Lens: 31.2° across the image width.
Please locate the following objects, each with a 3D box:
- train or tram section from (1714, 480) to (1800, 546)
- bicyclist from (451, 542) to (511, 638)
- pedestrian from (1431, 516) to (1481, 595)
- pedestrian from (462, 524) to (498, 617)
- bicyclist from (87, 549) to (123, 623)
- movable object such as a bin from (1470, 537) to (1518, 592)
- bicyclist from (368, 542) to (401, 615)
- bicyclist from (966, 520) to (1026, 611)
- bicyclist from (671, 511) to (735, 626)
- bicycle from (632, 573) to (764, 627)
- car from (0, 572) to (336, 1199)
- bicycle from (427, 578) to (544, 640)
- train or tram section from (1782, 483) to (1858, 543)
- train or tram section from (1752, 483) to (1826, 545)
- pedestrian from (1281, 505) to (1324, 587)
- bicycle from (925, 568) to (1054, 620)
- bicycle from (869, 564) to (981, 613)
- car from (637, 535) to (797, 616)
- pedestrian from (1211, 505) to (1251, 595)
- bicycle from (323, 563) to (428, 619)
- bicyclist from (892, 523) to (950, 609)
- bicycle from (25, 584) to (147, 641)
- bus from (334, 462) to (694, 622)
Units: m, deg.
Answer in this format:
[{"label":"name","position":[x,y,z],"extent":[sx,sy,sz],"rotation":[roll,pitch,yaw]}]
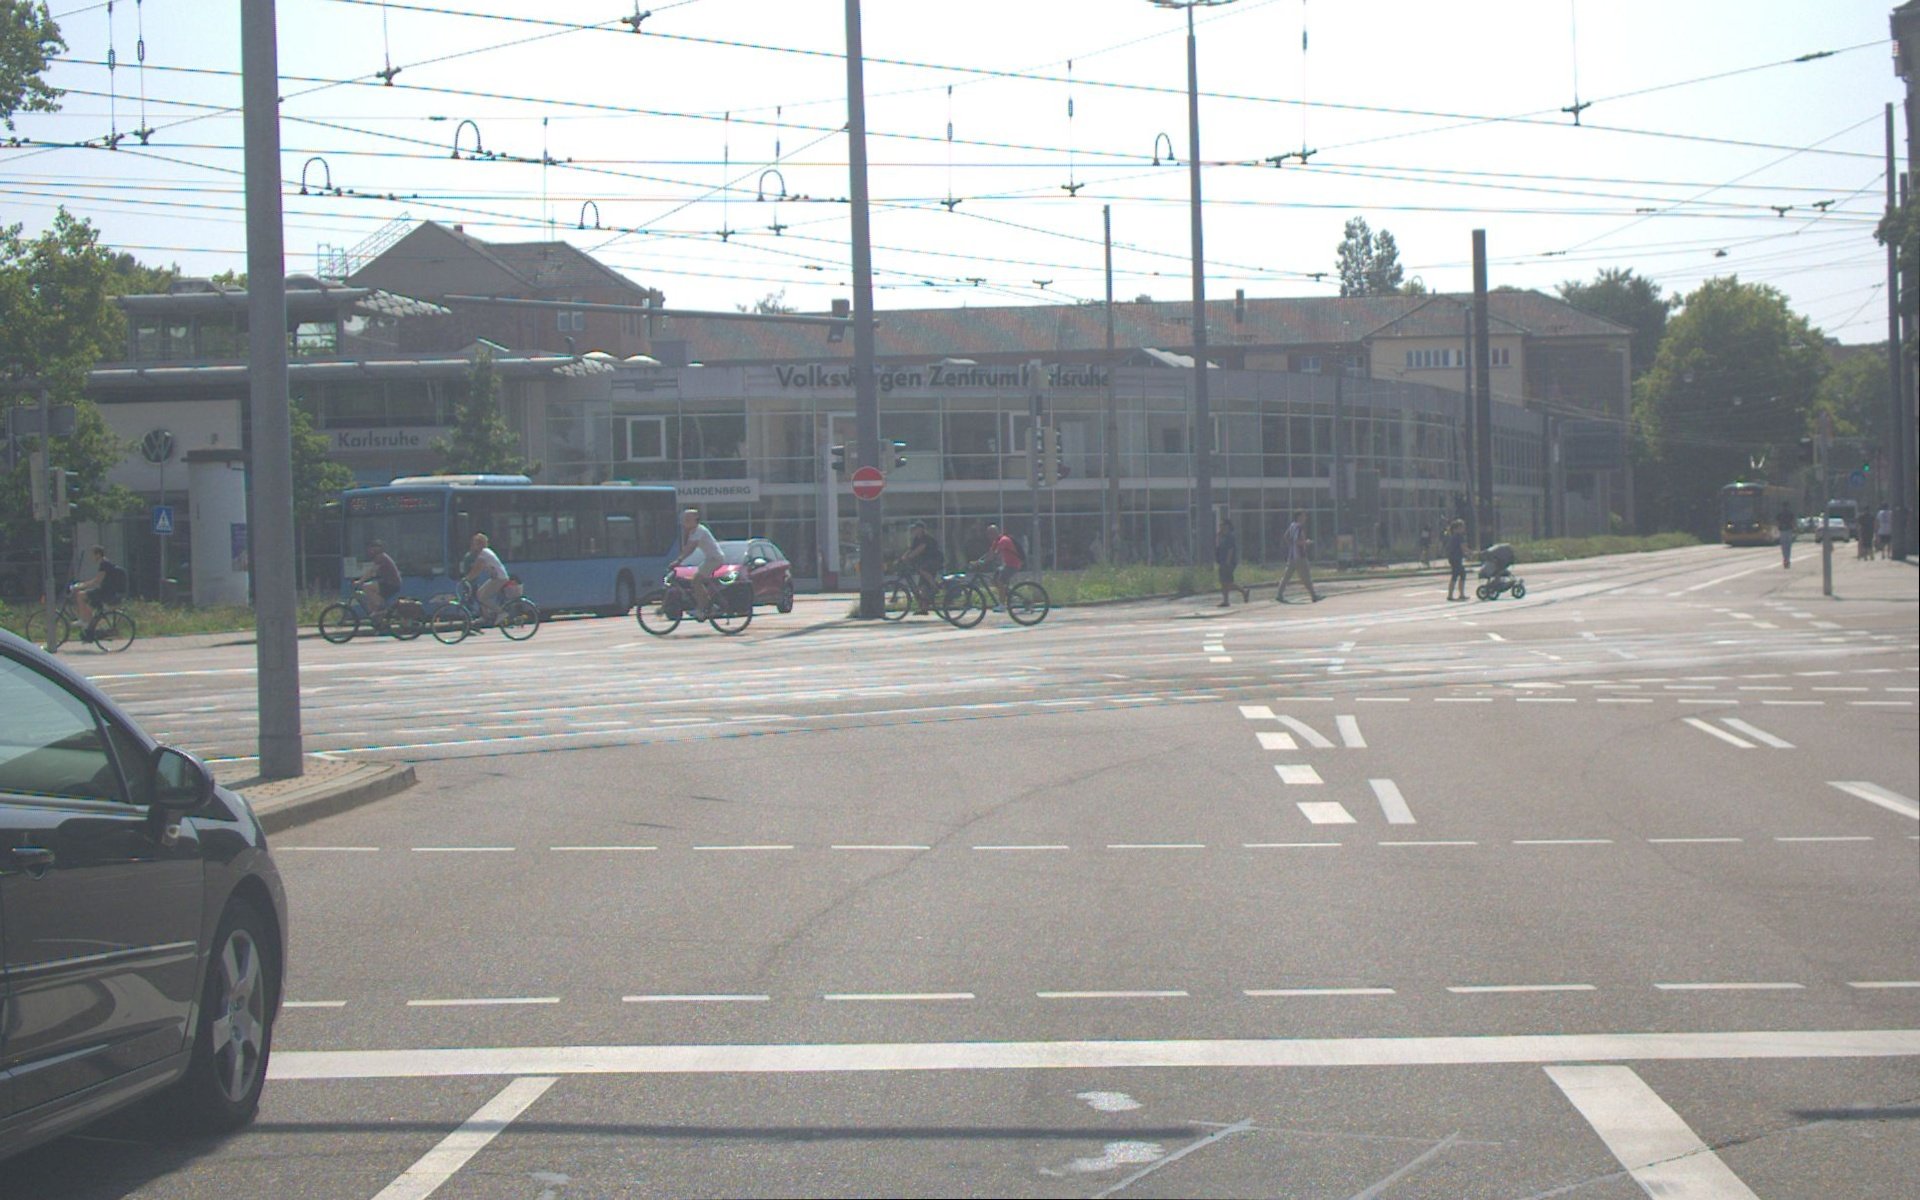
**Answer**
[{"label":"train or tram section","position":[44.089,-4.796,189.906],"extent":[2.591,3.504,10.885],"rotation":[-1,1,24]},{"label":"bicyclist","position":[-7.685,-0.168,55.116],"extent":[0.909,1.503,0.559],"rotation":[-1,1,-10]},{"label":"pedestrian","position":[9.876,-0.889,68.486],"extent":[0.850,1.539,0.529],"rotation":[-1,1,-6]},{"label":"pedestrian","position":[-8.757,-0.533,62.658],"extent":[0.552,1.678,0.454],"rotation":[-1,1,-17]},{"label":"bicyclist","position":[-15.016,-0.248,60.386],"extent":[0.544,1.289,0.559],"rotation":[-1,1,-10]},{"label":"movable object such as a bin","position":[10.647,-0.708,68.564],"extent":[0.812,1.073,0.512],"rotation":[-1,1,-9]},{"label":"bicyclist","position":[-10.233,-0.383,61.145],"extent":[0.544,1.289,0.559],"rotation":[-1,1,-10]},{"label":"bicyclist","position":[0.589,-0.570,56.415],"extent":[0.871,1.478,0.497],"rotation":[-1,1,-12]},{"label":"bicyclist","position":[-4.103,-0.504,54.890],"extent":[0.923,1.801,0.497],"rotation":[-1,1,-11]},{"label":"bicycle","position":[-4.186,-0.001,54.883],"extent":[2.048,0.799,0.479],"rotation":[-1,1,-11]},{"label":"car","position":[-2.750,0.654,7.544],"extent":[1.766,1.383,3.780],"rotation":[1,1,5]},{"label":"bicycle","position":[-7.616,0.133,55.139],"extent":[1.813,0.939,0.568],"rotation":[-1,1,-11]},{"label":"train or tram section","position":[52.487,-5.323,209.565],"extent":[2.591,3.504,12.958],"rotation":[-1,1,22]},{"label":"train or tram section","position":[48.097,-4.991,199.350],"extent":[2.591,3.504,9.648],"rotation":[-1,1,23]},{"label":"pedestrian","position":[6.751,-1.063,67.794],"extent":[0.699,1.597,0.573],"rotation":[-1,1,-6]},{"label":"bicycle","position":[0.481,-0.106,56.413],"extent":[2.048,0.799,0.479],"rotation":[-1,1,-11]},{"label":"bicycle","position":[-0.616,-0.210,60.184],"extent":[1.855,0.799,0.608],"rotation":[-2,1,-16]},{"label":"car","position":[-4.897,-0.512,69.813],"extent":[1.751,1.546,3.996],"rotation":[-1,1,20]},{"label":"pedestrian","position":[5.209,-0.962,66.105],"extent":[0.534,1.715,0.488],"rotation":[0,1,42]},{"label":"bicycle","position":[-10.397,-0.165,61.127],"extent":[1.813,0.939,0.416],"rotation":[-1,1,-11]},{"label":"bicyclist","position":[-0.684,-0.600,60.168],"extent":[0.871,1.470,0.546],"rotation":[-1,1,-16]},{"label":"bicycle","position":[-15.349,0.216,60.387],"extent":[2.032,0.939,0.468],"rotation":[-1,1,-11]},{"label":"bus","position":[-9.196,-1.273,73.080],"extent":[2.564,3.072,12.013],"rotation":[-1,1,18]}]
